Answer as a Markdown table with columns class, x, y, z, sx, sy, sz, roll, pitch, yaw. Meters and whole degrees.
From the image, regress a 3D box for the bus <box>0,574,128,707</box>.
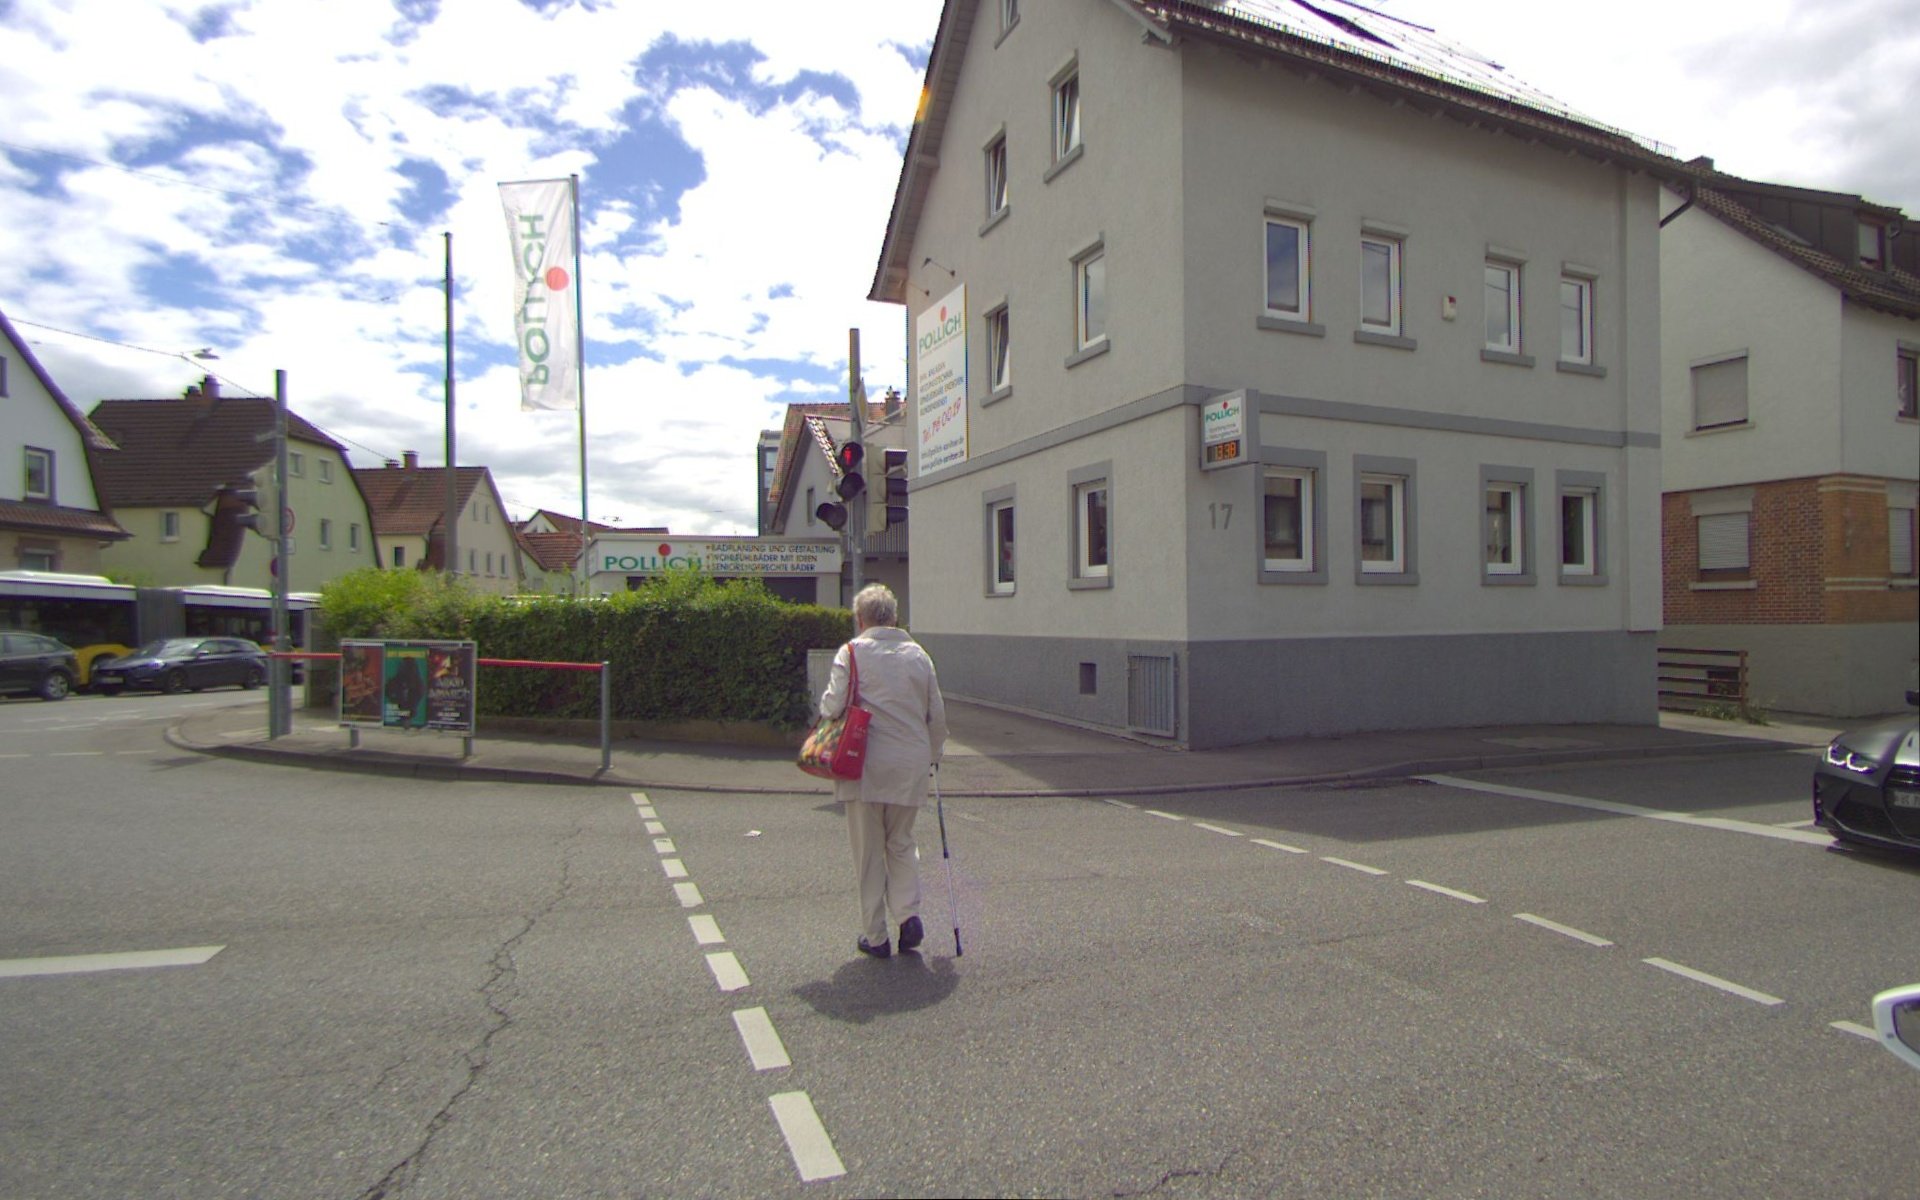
| class | x | y | z | sx | sy | sz | roll | pitch | yaw |
| --- | --- | --- | --- | --- | --- | --- | --- | --- | --- |
| bus | -23.691 | 0.906 | 22.273 | 2.732 | 3.100 | 9.194 | 0 | -2 | 1 |

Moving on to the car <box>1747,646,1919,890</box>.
| class | x | y | z | sx | sy | sz | roll | pitch | yaw |
| --- | --- | --- | --- | --- | --- | --- | --- | --- | --- |
| car | 7.943 | 1.056 | 7.043 | 4.555 | 1.476 | 1.988 | 1 | -3 | -26 |

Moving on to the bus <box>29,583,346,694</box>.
| class | x | y | z | sx | sy | sz | roll | pitch | yaw |
| --- | --- | --- | --- | --- | --- | --- | --- | --- | --- |
| bus | -23.533 | 1.214 | 31.542 | 2.732 | 2.953 | 9.194 | 0 | -2 | 1 |

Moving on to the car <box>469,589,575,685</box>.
| class | x | y | z | sx | sy | sz | roll | pitch | yaw |
| --- | --- | --- | --- | --- | --- | --- | --- | --- | --- |
| car | -10.625 | 0.905 | 24.152 | 1.975 | 2.040 | 5.088 | 1 | -3 | -28 |

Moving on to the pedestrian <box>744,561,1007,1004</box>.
| class | x | y | z | sx | sy | sz | roll | pitch | yaw |
| --- | --- | --- | --- | --- | --- | --- | --- | --- | --- |
| pedestrian | -0.321 | 0.695 | 4.307 | 0.856 | 1.659 | 0.837 | 2 | -1 | 13 |

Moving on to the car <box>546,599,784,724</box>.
| class | x | y | z | sx | sy | sz | roll | pitch | yaw |
| --- | --- | --- | --- | --- | --- | --- | --- | --- | --- |
| car | -5.354 | 1.065 | 18.193 | 3.943 | 2.040 | 1.989 | 1 | -2 | -23 |

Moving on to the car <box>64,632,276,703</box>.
| class | x | y | z | sx | sy | sz | roll | pitch | yaw |
| --- | --- | --- | --- | --- | --- | --- | --- | --- | --- |
| car | -19.940 | 1.670 | 25.630 | 1.960 | 1.661 | 4.185 | 0 | -2 | 2 |

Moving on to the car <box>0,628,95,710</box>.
| class | x | y | z | sx | sy | sz | roll | pitch | yaw |
| --- | --- | --- | --- | --- | --- | --- | --- | --- | --- |
| car | -20.441 | 1.412 | 20.528 | 1.960 | 1.661 | 4.002 | 0 | -2 | 2 |
